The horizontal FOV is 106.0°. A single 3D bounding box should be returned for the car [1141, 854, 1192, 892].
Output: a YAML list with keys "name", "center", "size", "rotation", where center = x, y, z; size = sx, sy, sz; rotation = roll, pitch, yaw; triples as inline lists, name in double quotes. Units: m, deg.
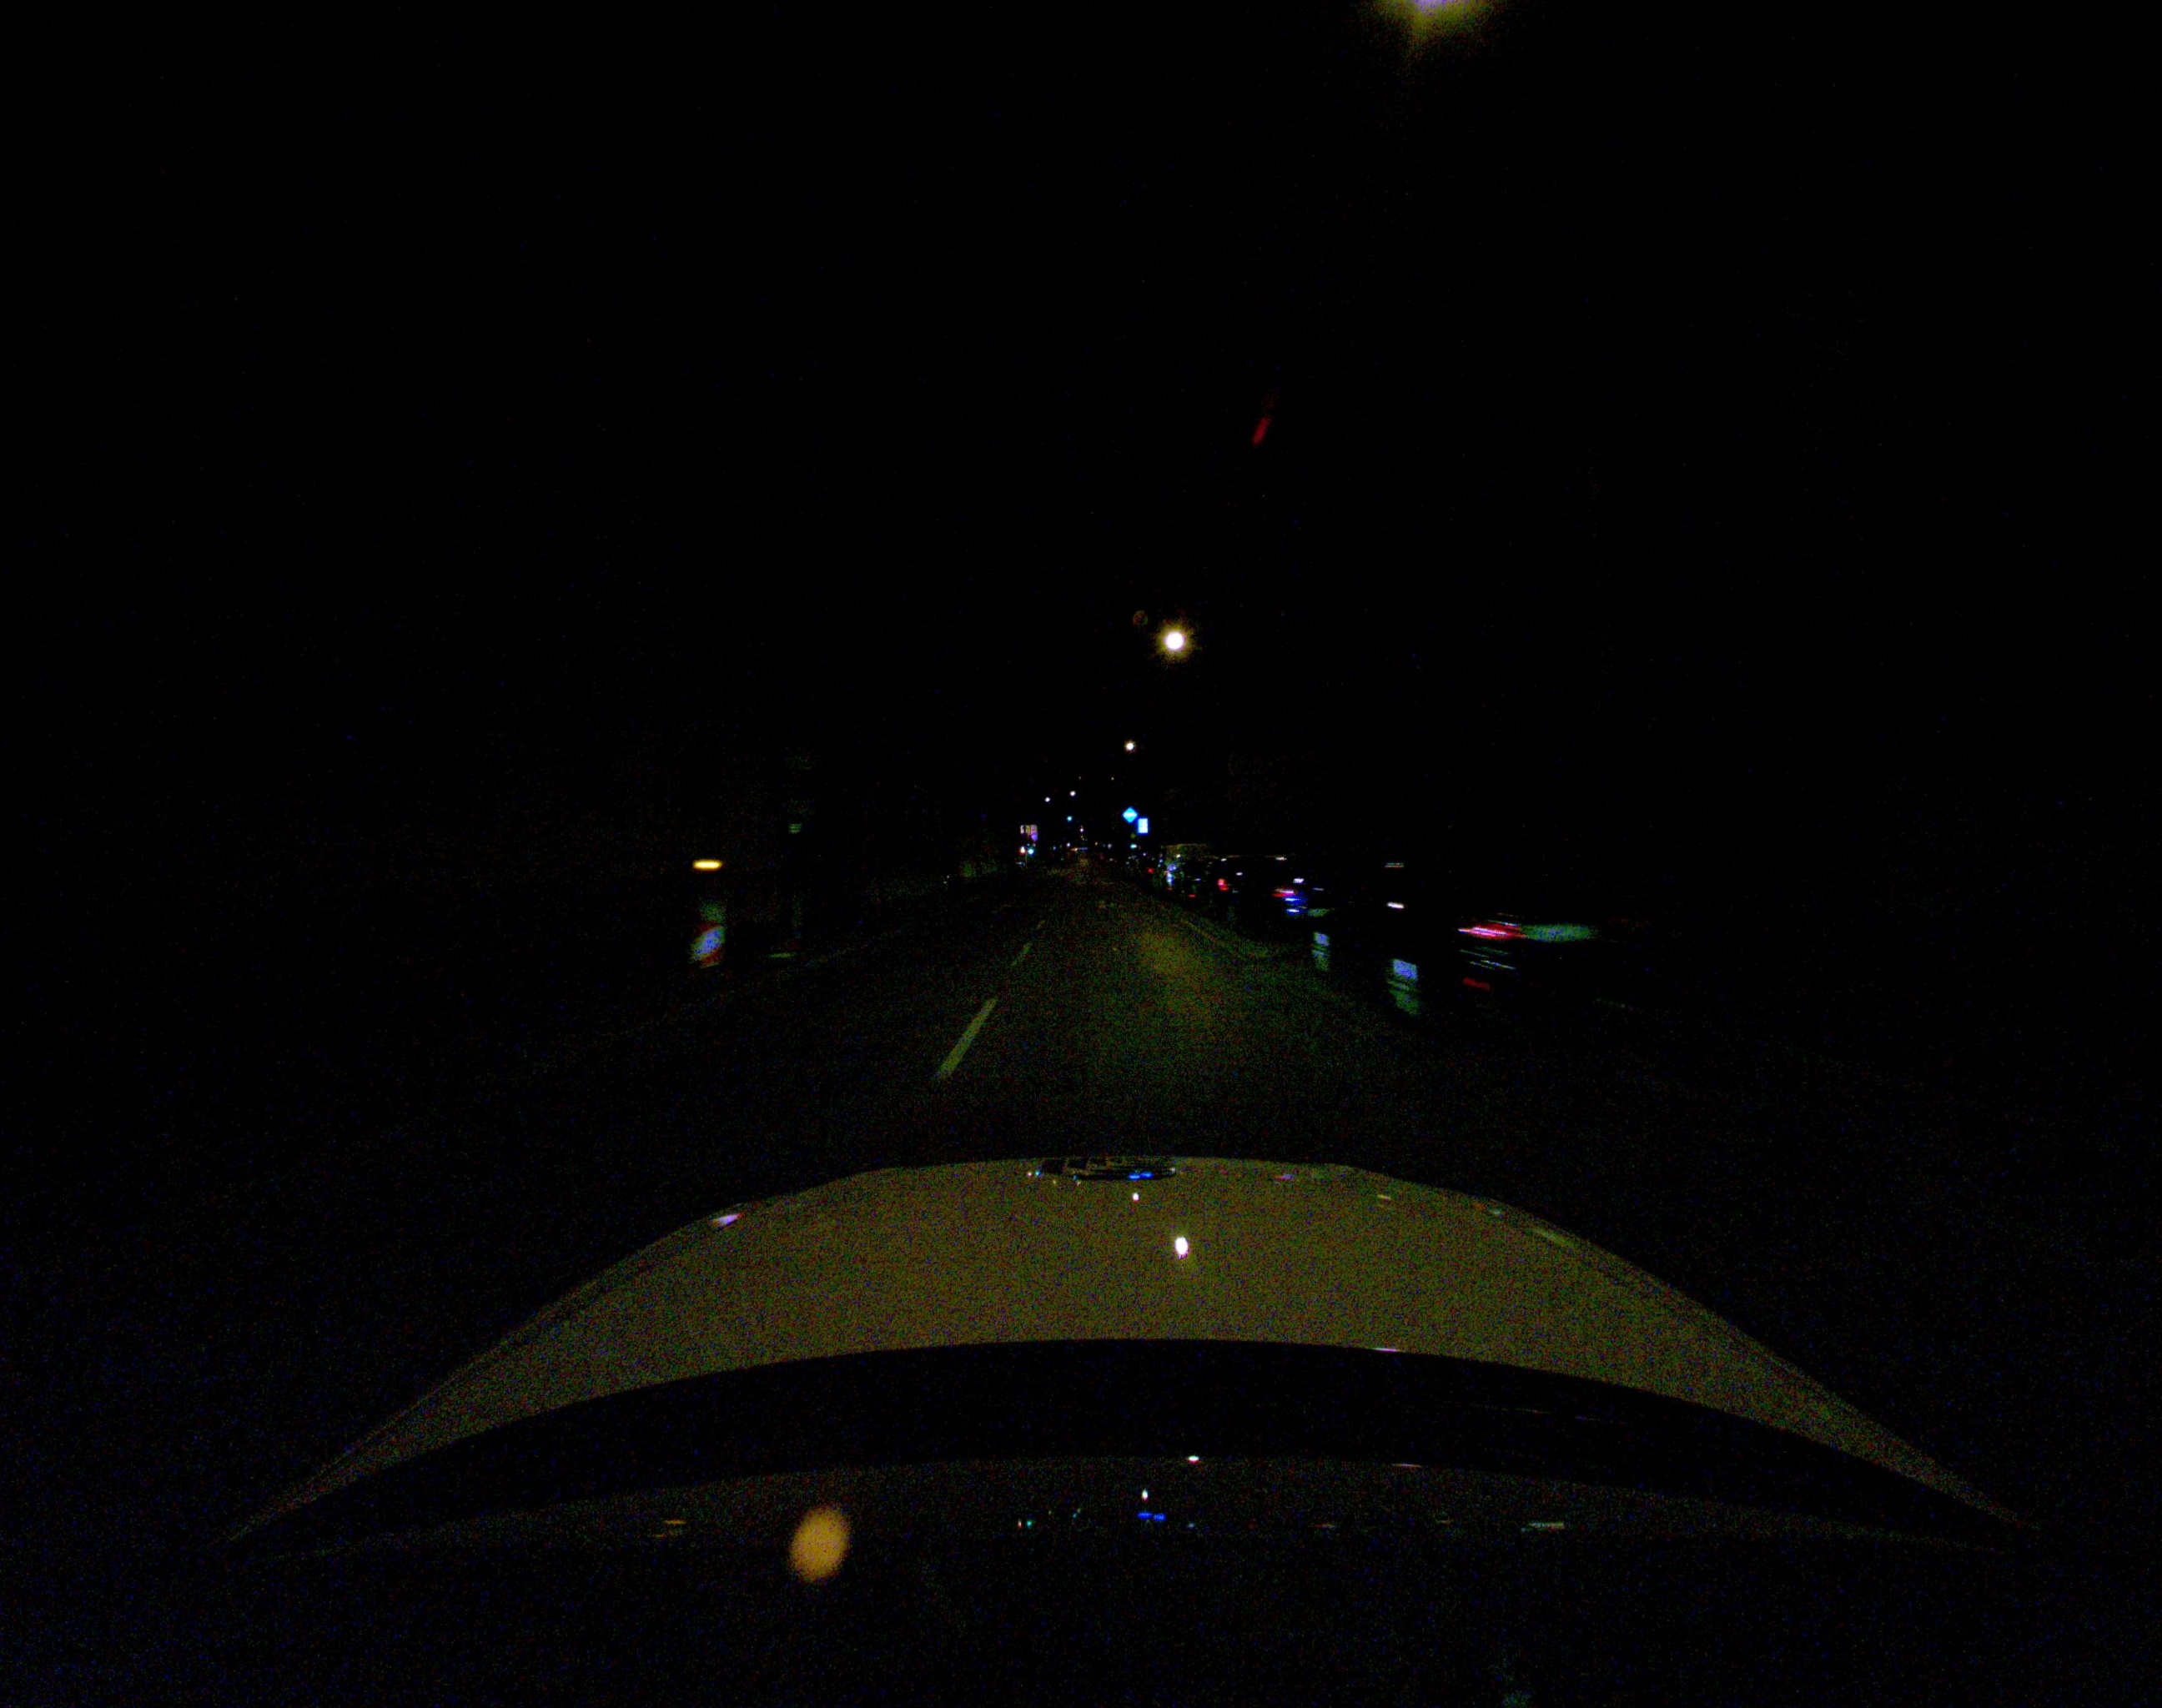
- name: "car"
  center: [3.634, 0.758, 35.201]
  size: [1.810, 1.427, 4.190]
  rotation: [-3, 0, 1]

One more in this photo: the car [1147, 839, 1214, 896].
- name: "car"
  center: [3.634, 0.454, 30.424]
  size: [1.795, 1.875, 4.773]
  rotation: [-4, 0, 0]

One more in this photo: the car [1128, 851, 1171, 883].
- name: "car"
  center: [3.756, 0.674, 45.442]
  size: [1.819, 1.623, 4.454]
  rotation: [-3, 0, -2]

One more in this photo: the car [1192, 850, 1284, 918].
- name: "car"
  center: [3.775, 0.695, 20.148]
  size: [1.589, 1.467, 3.719]
  rotation: [-2, -1, 1]

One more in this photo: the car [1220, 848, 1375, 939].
- name: "car"
  center: [3.829, 0.659, 15.091]
  size: [1.773, 1.426, 3.890]
  rotation: [-2, -1, -1]

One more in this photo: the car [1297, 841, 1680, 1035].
- name: "car"
  center: [3.688, 0.660, 8.433]
  size: [1.772, 1.426, 4.481]
  rotation: [-2, -1, 1]

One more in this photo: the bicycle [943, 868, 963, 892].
- name: "bicycle"
  center: [-5.892, 1.190, 37.571]
  size: [0.617, 1.052, 1.722]
  rotation: [-2, -1, 1]

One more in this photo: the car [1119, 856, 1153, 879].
- name: "car"
  center: [3.794, 0.899, 56.630]
  size: [1.855, 1.489, 4.542]
  rotation: [-2, -1, -2]

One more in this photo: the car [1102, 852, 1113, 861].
- name: "car"
  center: [4.832, 0.408, 149.072]
  size: [1.986, 1.520, 4.001]
  rotation: [-2, -1, 2]

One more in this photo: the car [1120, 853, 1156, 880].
- name: "car"
  center: [3.542, 0.788, 51.266]
  size: [1.770, 1.544, 4.542]
  rotation: [-2, -1, -2]

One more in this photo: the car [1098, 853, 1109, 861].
- name: "car"
  center: [4.283, 0.561, 155.601]
  size: [1.986, 1.520, 4.001]
  rotation: [-2, -1, 2]

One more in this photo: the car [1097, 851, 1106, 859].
- name: "car"
  center: [4.371, 0.265, 173.856]
  size: [1.986, 1.520, 4.001]
  rotation: [-2, -1, 2]

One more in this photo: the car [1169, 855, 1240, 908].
- name: "car"
  center: [3.703, 0.791, 24.932]
  size: [1.589, 1.467, 3.892]
  rotation: [-2, -1, 1]

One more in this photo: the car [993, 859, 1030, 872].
- name: "car"
  center: [-8.625, 1.403, 101.257]
  size: [4.425, 1.449, 1.999]
  rotation: [-2, -1, -1]

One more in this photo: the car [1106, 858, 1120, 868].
- name: "car"
  center: [4.923, 1.354, 125.187]
  size: [1.986, 1.516, 4.002]
  rotation: [-1, 0, 2]

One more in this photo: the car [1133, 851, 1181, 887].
- name: "car"
  center: [3.699, 0.672, 40.340]
  size: [1.818, 1.588, 4.626]
  rotation: [-3, 0, -1]

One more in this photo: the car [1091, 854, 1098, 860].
- name: "car"
  center: [3.659, 0.829, 221.368]
  size: [1.986, 1.520, 4.001]
  rotation: [-2, -1, 2]

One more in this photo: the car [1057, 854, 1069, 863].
- name: "car"
  center: [-3.087, 0.823, 143.546]
  size: [1.987, 1.502, 3.999]
  rotation: [-2, -1, 0]
